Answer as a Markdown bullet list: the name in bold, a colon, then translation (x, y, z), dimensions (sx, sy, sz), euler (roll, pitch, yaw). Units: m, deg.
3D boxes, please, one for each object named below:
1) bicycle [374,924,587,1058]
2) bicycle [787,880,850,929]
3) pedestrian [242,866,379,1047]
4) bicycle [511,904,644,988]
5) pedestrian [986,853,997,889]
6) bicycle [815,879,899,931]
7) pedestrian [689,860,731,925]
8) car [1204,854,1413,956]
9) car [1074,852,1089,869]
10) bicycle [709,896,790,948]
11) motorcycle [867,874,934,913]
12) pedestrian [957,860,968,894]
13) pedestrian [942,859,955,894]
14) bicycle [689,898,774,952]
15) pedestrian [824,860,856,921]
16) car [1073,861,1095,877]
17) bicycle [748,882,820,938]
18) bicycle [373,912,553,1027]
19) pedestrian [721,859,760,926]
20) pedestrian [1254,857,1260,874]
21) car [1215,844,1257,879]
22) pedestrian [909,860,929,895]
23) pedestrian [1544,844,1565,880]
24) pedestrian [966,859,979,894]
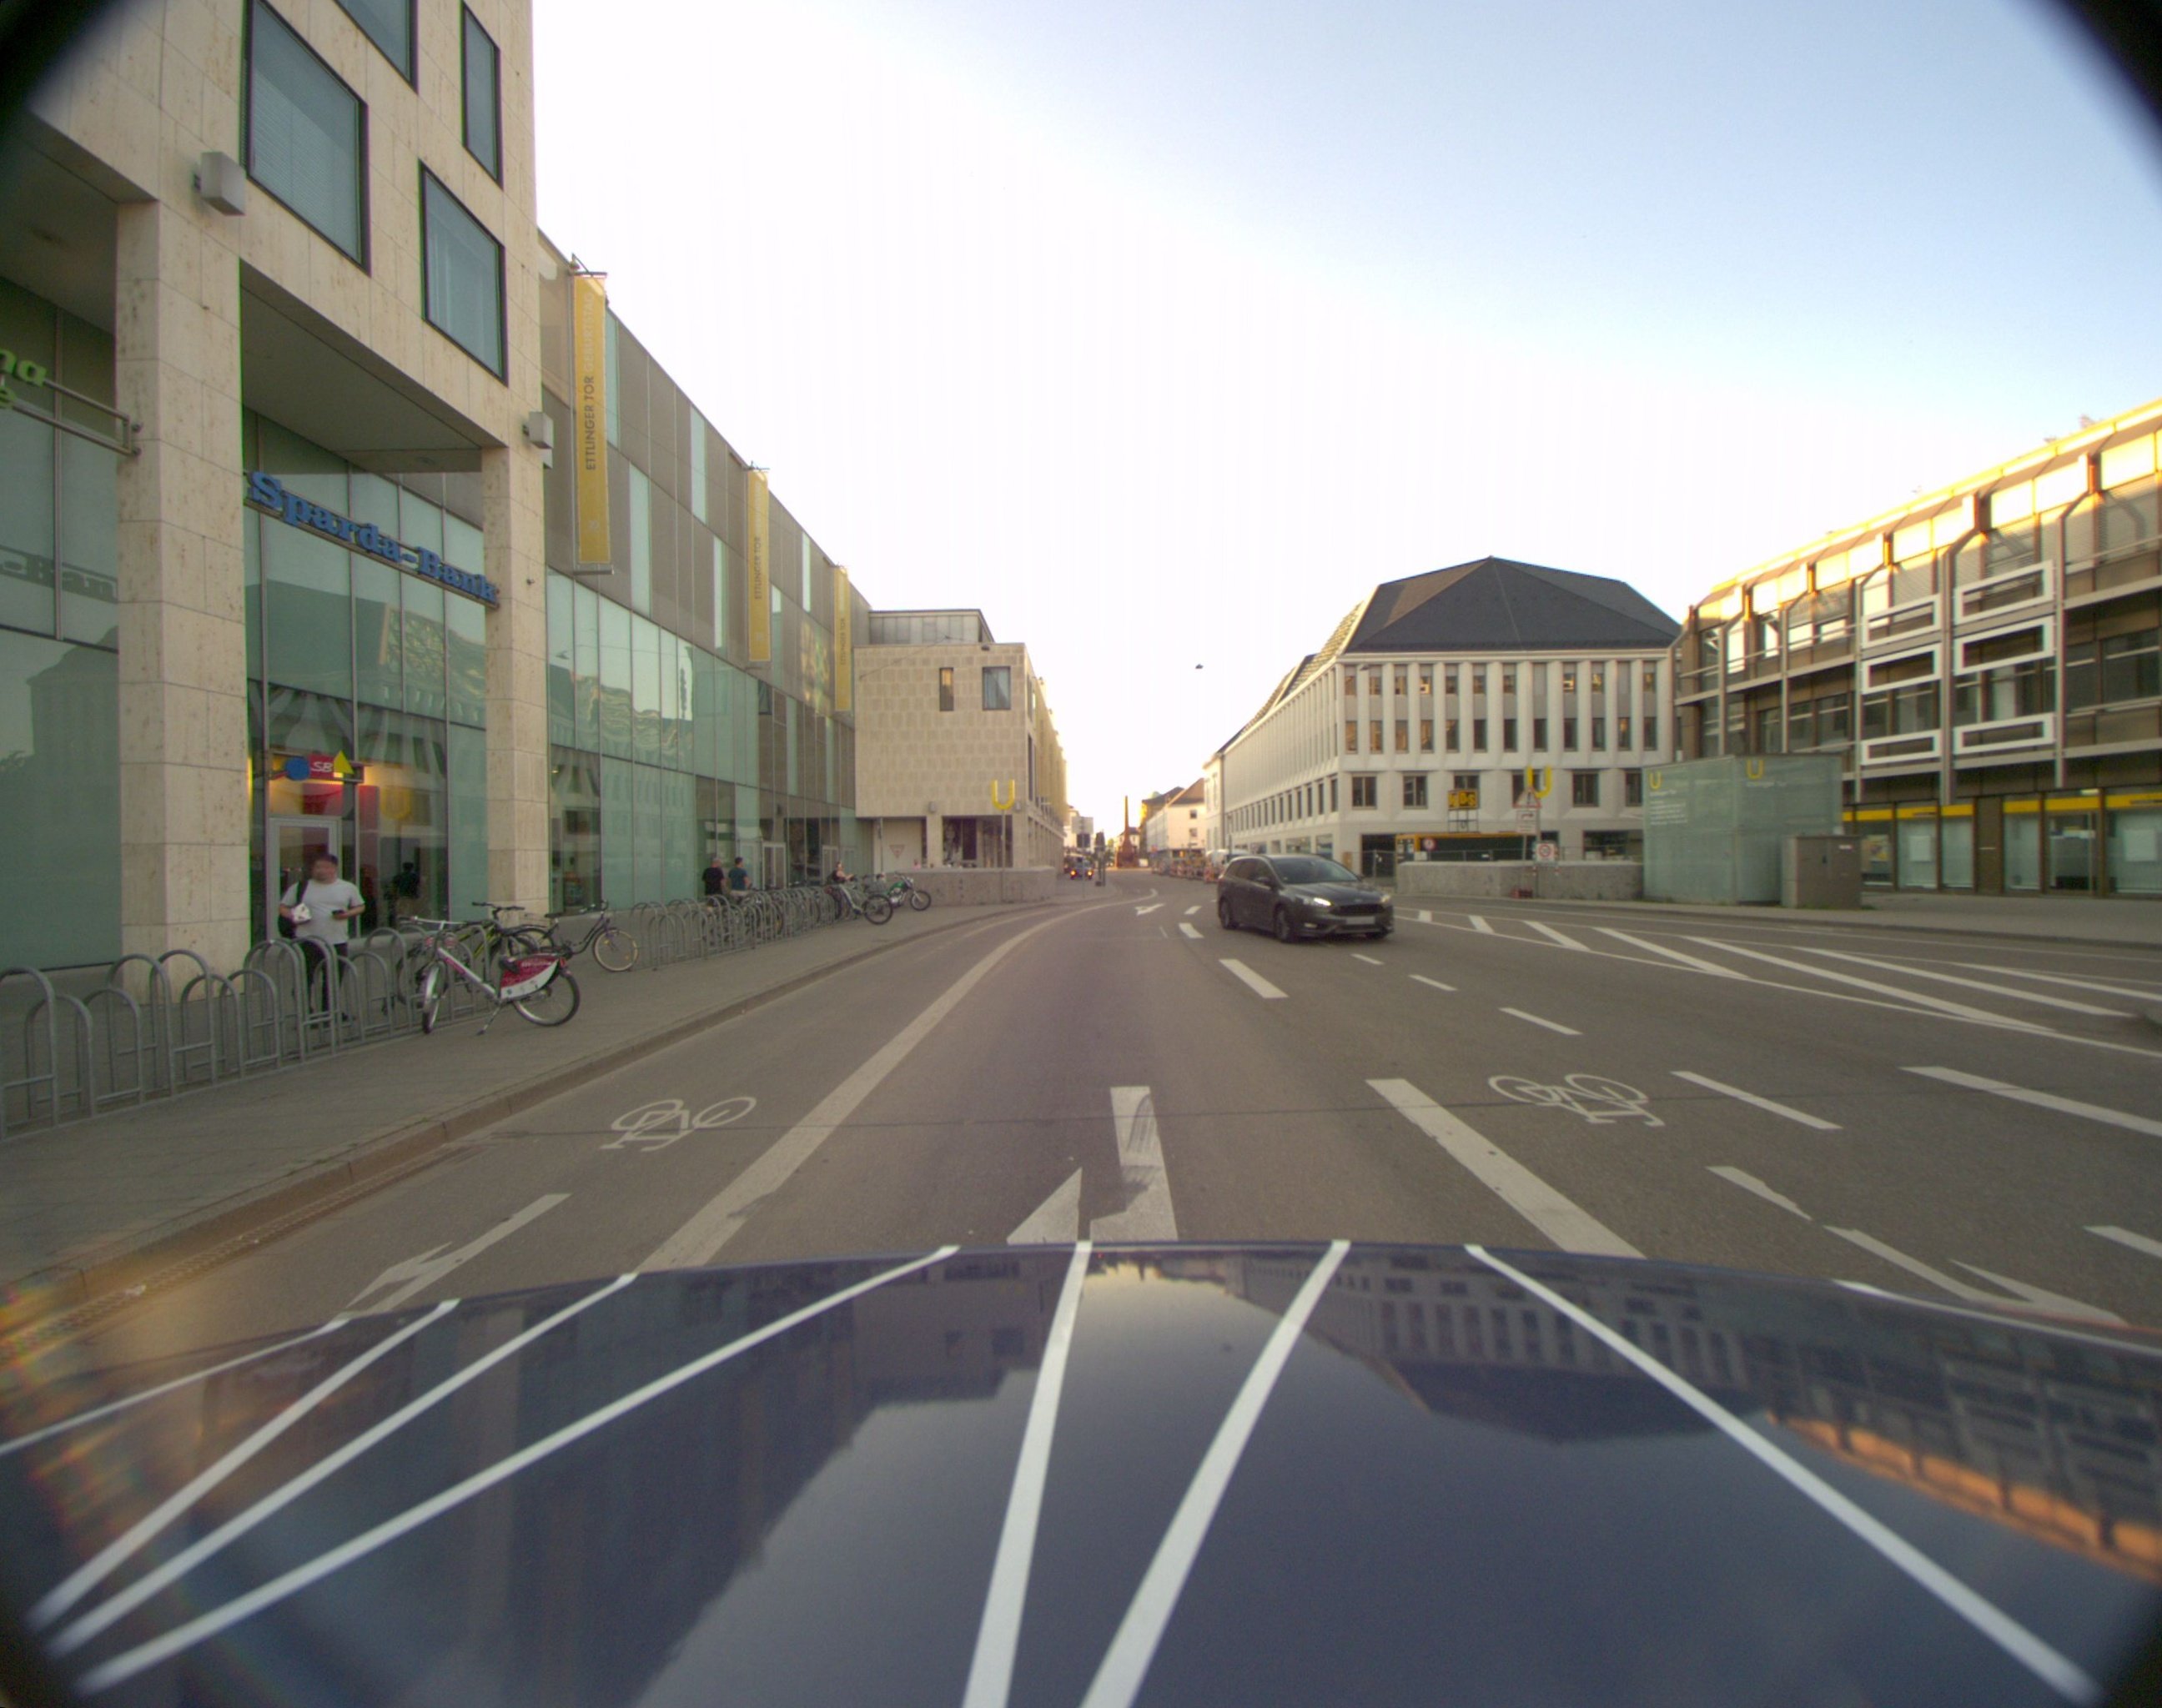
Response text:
- **bicycle**: translation (-5.397, 1.221, 6.865), dimensions (1.518, 1.057, 0.466), euler (-3, 0, 1)
- **bicycle**: translation (-6.602, 1.267, 19.162), dimensions (1.345, 1.157, 0.518), euler (-3, 0, -1)
- **pedestrian**: translation (-7.537, 0.970, 7.458), dimensions (0.707, 1.682, 0.630), euler (-1, 0, 9)
- **bicycle**: translation (-7.301, 1.317, 11.071), dimensions (1.447, 1.058, 0.580), euler (-3, 0, -10)
- **pedestrian**: translation (-4.293, 0.799, 36.521), dimensions (0.454, 1.733, 0.493), euler (-1, 0, 3)
- **bicycle**: translation (-5.388, 1.221, 18.318), dimensions (1.838, 1.140, 0.466), euler (-3, 0, 1)
- **pedestrian**: translation (-9.679, 0.985, 19.839), dimensions (0.741, 1.638, 0.820), euler (-1, 0, -7)
- **car**: translation (3.811, 0.790, 13.646), dimensions (1.763, 1.454, 4.376), euler (-2, 0, -10)
- **car**: translation (0.127, 0.842, 100.167), dimensions (1.798, 2.198, 3.671), euler (-1, 0, 2)
- **bicycle**: translation (-6.595, 1.355, 15.148), dimensions (1.345, 0.927, 0.518), euler (-3, 0, -1)
- **motorcycle**: translation (-5.709, 1.244, 24.083), dimensions (2.007, 1.217, 0.480), euler (-1, 0, -2)
- **pedestrian**: translation (-6.072, 1.174, 38.838), dimensions (0.454, 1.733, 0.493), euler (-1, 0, 3)
- **pedestrian**: translation (-6.649, 1.116, 38.038), dimensions (0.494, 1.733, 0.657), euler (-1, 0, 3)
- **bicycle**: translation (-6.653, 1.346, 14.502), dimensions (1.345, 0.927, 0.518), euler (-3, 0, -1)
- **pedestrian**: translation (-6.648, 0.995, 20.984), dimensions (0.809, 1.633, 0.646), euler (-1, 0, -18)
- **car**: translation (0.335, 1.299, 67.829), dimensions (1.798, 1.365, 3.671), euler (-1, 0, 2)
- **bicycle**: translation (-6.658, 1.240, 17.076), dimensions (1.345, 1.157, 0.518), euler (-3, 0, -1)
- **bicycle**: translation (-6.796, 1.260, 8.391), dimensions (1.518, 1.117, 0.581), euler (-3, 0, 4)
- **pedestrian**: translation (-8.901, 0.987, 19.882), dimensions (0.698, 1.686, 0.820), euler (-1, 0, -7)
- **pedestrian**: translation (13.653, 0.880, 58.909), dimensions (0.350, 1.308, 0.338), euler (-1, 0, 1)
- **car**: translation (11.985, 0.593, 59.163), dimensions (2.141, 2.540, 6.050), euler (-1, 0, 1)
- **pedestrian**: translation (-8.114, 1.175, 38.091), dimensions (0.793, 1.733, 0.657), euler (-1, 0, 3)
- **pedestrian**: translation (19.897, 0.350, 31.963), dimensions (0.532, 1.487, 0.555), euler (-1, 0, 1)
- **pedestrian**: translation (-5.345, 1.092, 37.517), dimensions (0.504, 1.733, 0.493), euler (-1, 0, 3)
